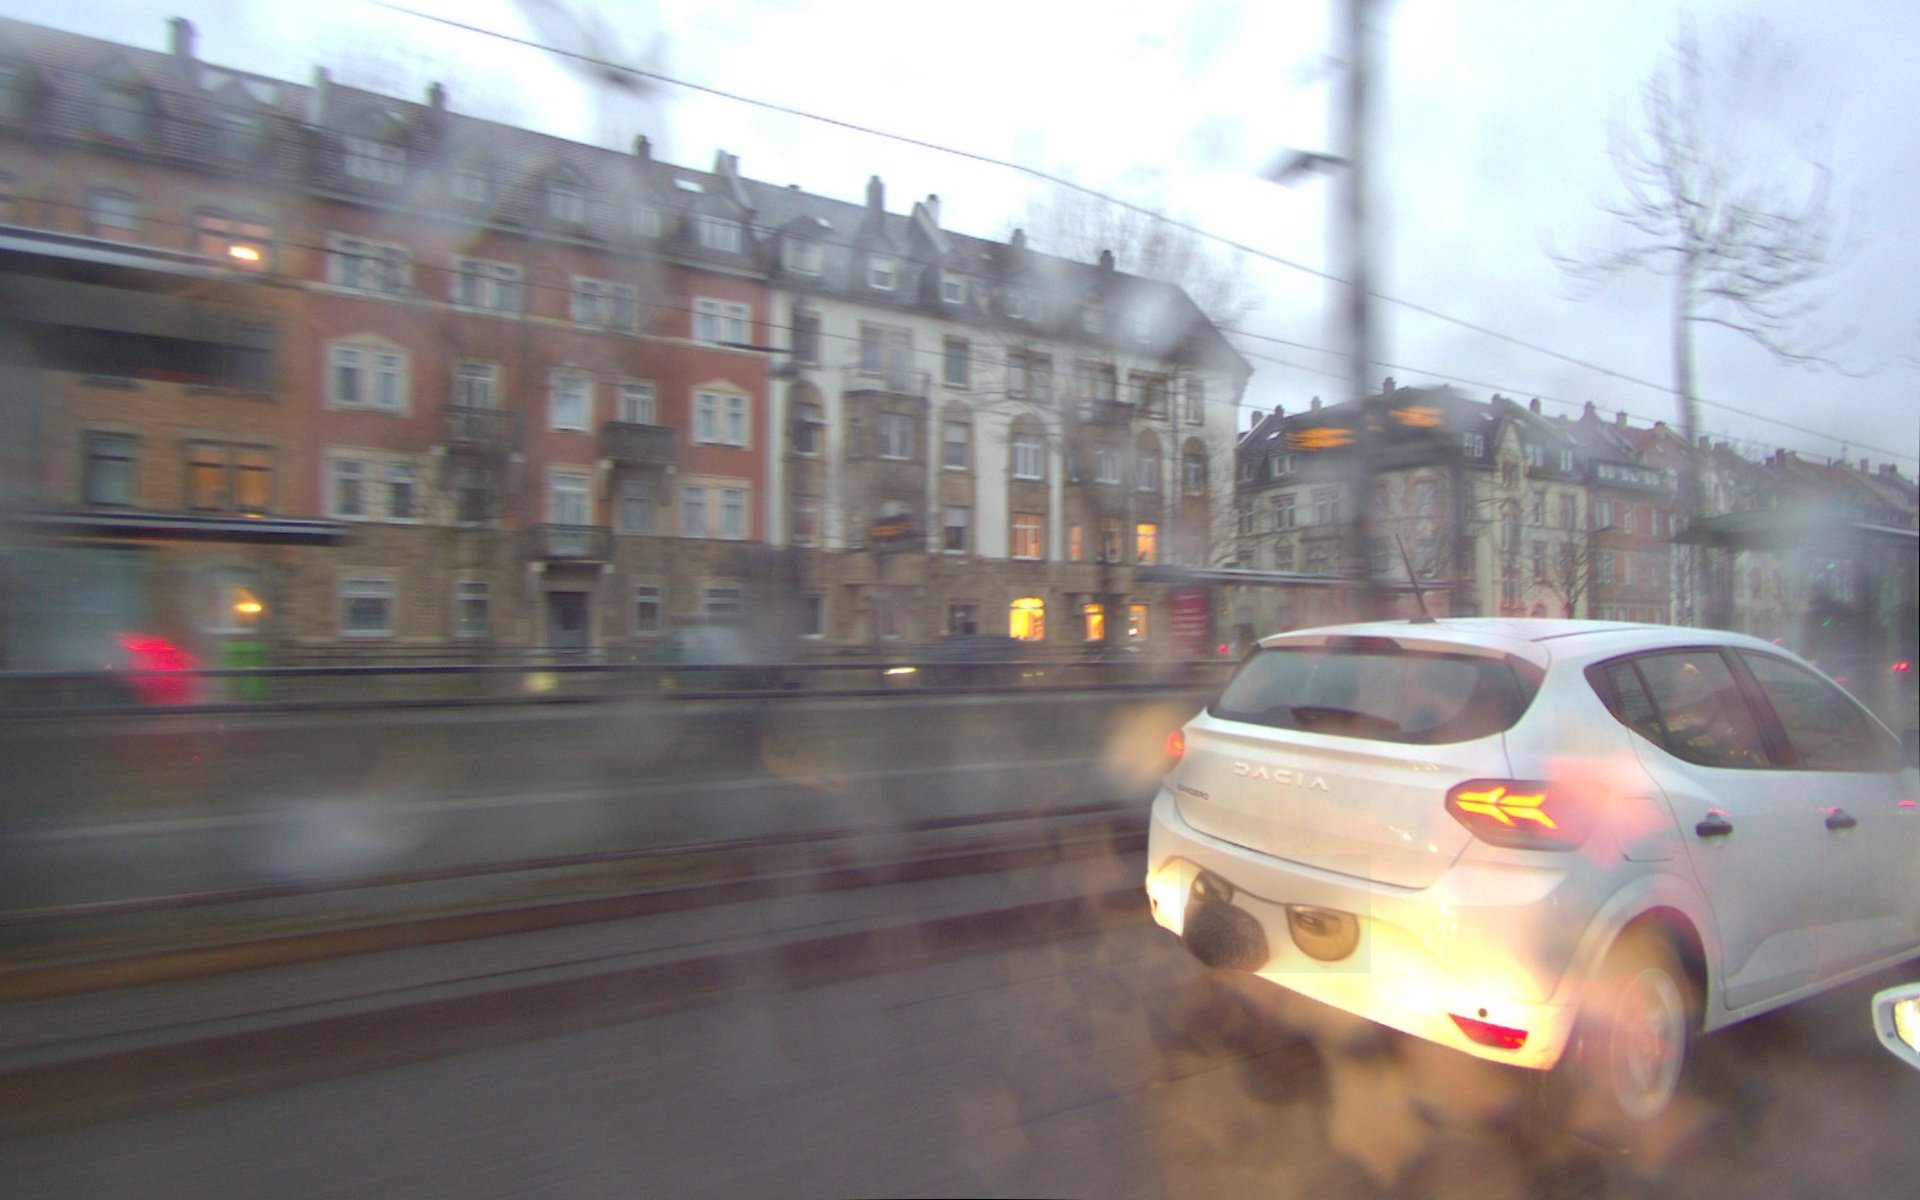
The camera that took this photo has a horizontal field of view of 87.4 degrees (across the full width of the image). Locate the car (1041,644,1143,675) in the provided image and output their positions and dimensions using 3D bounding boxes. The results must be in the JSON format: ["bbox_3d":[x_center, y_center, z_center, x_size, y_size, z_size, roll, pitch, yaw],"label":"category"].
[{"bbox_3d":[4.822,2.151,36.635,3.377,1.084,1.647,1,-3,-30],"label":"car"}]

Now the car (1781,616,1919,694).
[{"bbox_3d":[23.017,1.378,25.580,3.953,1.846,1.985,1,-3,-30],"label":"car"}]

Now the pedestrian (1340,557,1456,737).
[{"bbox_3d":[4.169,0.435,9.575,0.738,1.627,0.707,1,-1,-30],"label":"pedestrian"}]

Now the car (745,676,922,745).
[{"bbox_3d":[-3.156,2.706,25.074,3.950,1.461,1.986,1,-3,-28],"label":"car"}]

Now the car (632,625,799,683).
[{"bbox_3d":[-7.111,1.556,29.351,4.415,1.557,1.832,2,-1,-30],"label":"car"}]

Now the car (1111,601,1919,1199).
[{"bbox_3d":[2.674,0.802,3.992,3.952,1.506,1.619,0,-2,-30],"label":"car"}]
